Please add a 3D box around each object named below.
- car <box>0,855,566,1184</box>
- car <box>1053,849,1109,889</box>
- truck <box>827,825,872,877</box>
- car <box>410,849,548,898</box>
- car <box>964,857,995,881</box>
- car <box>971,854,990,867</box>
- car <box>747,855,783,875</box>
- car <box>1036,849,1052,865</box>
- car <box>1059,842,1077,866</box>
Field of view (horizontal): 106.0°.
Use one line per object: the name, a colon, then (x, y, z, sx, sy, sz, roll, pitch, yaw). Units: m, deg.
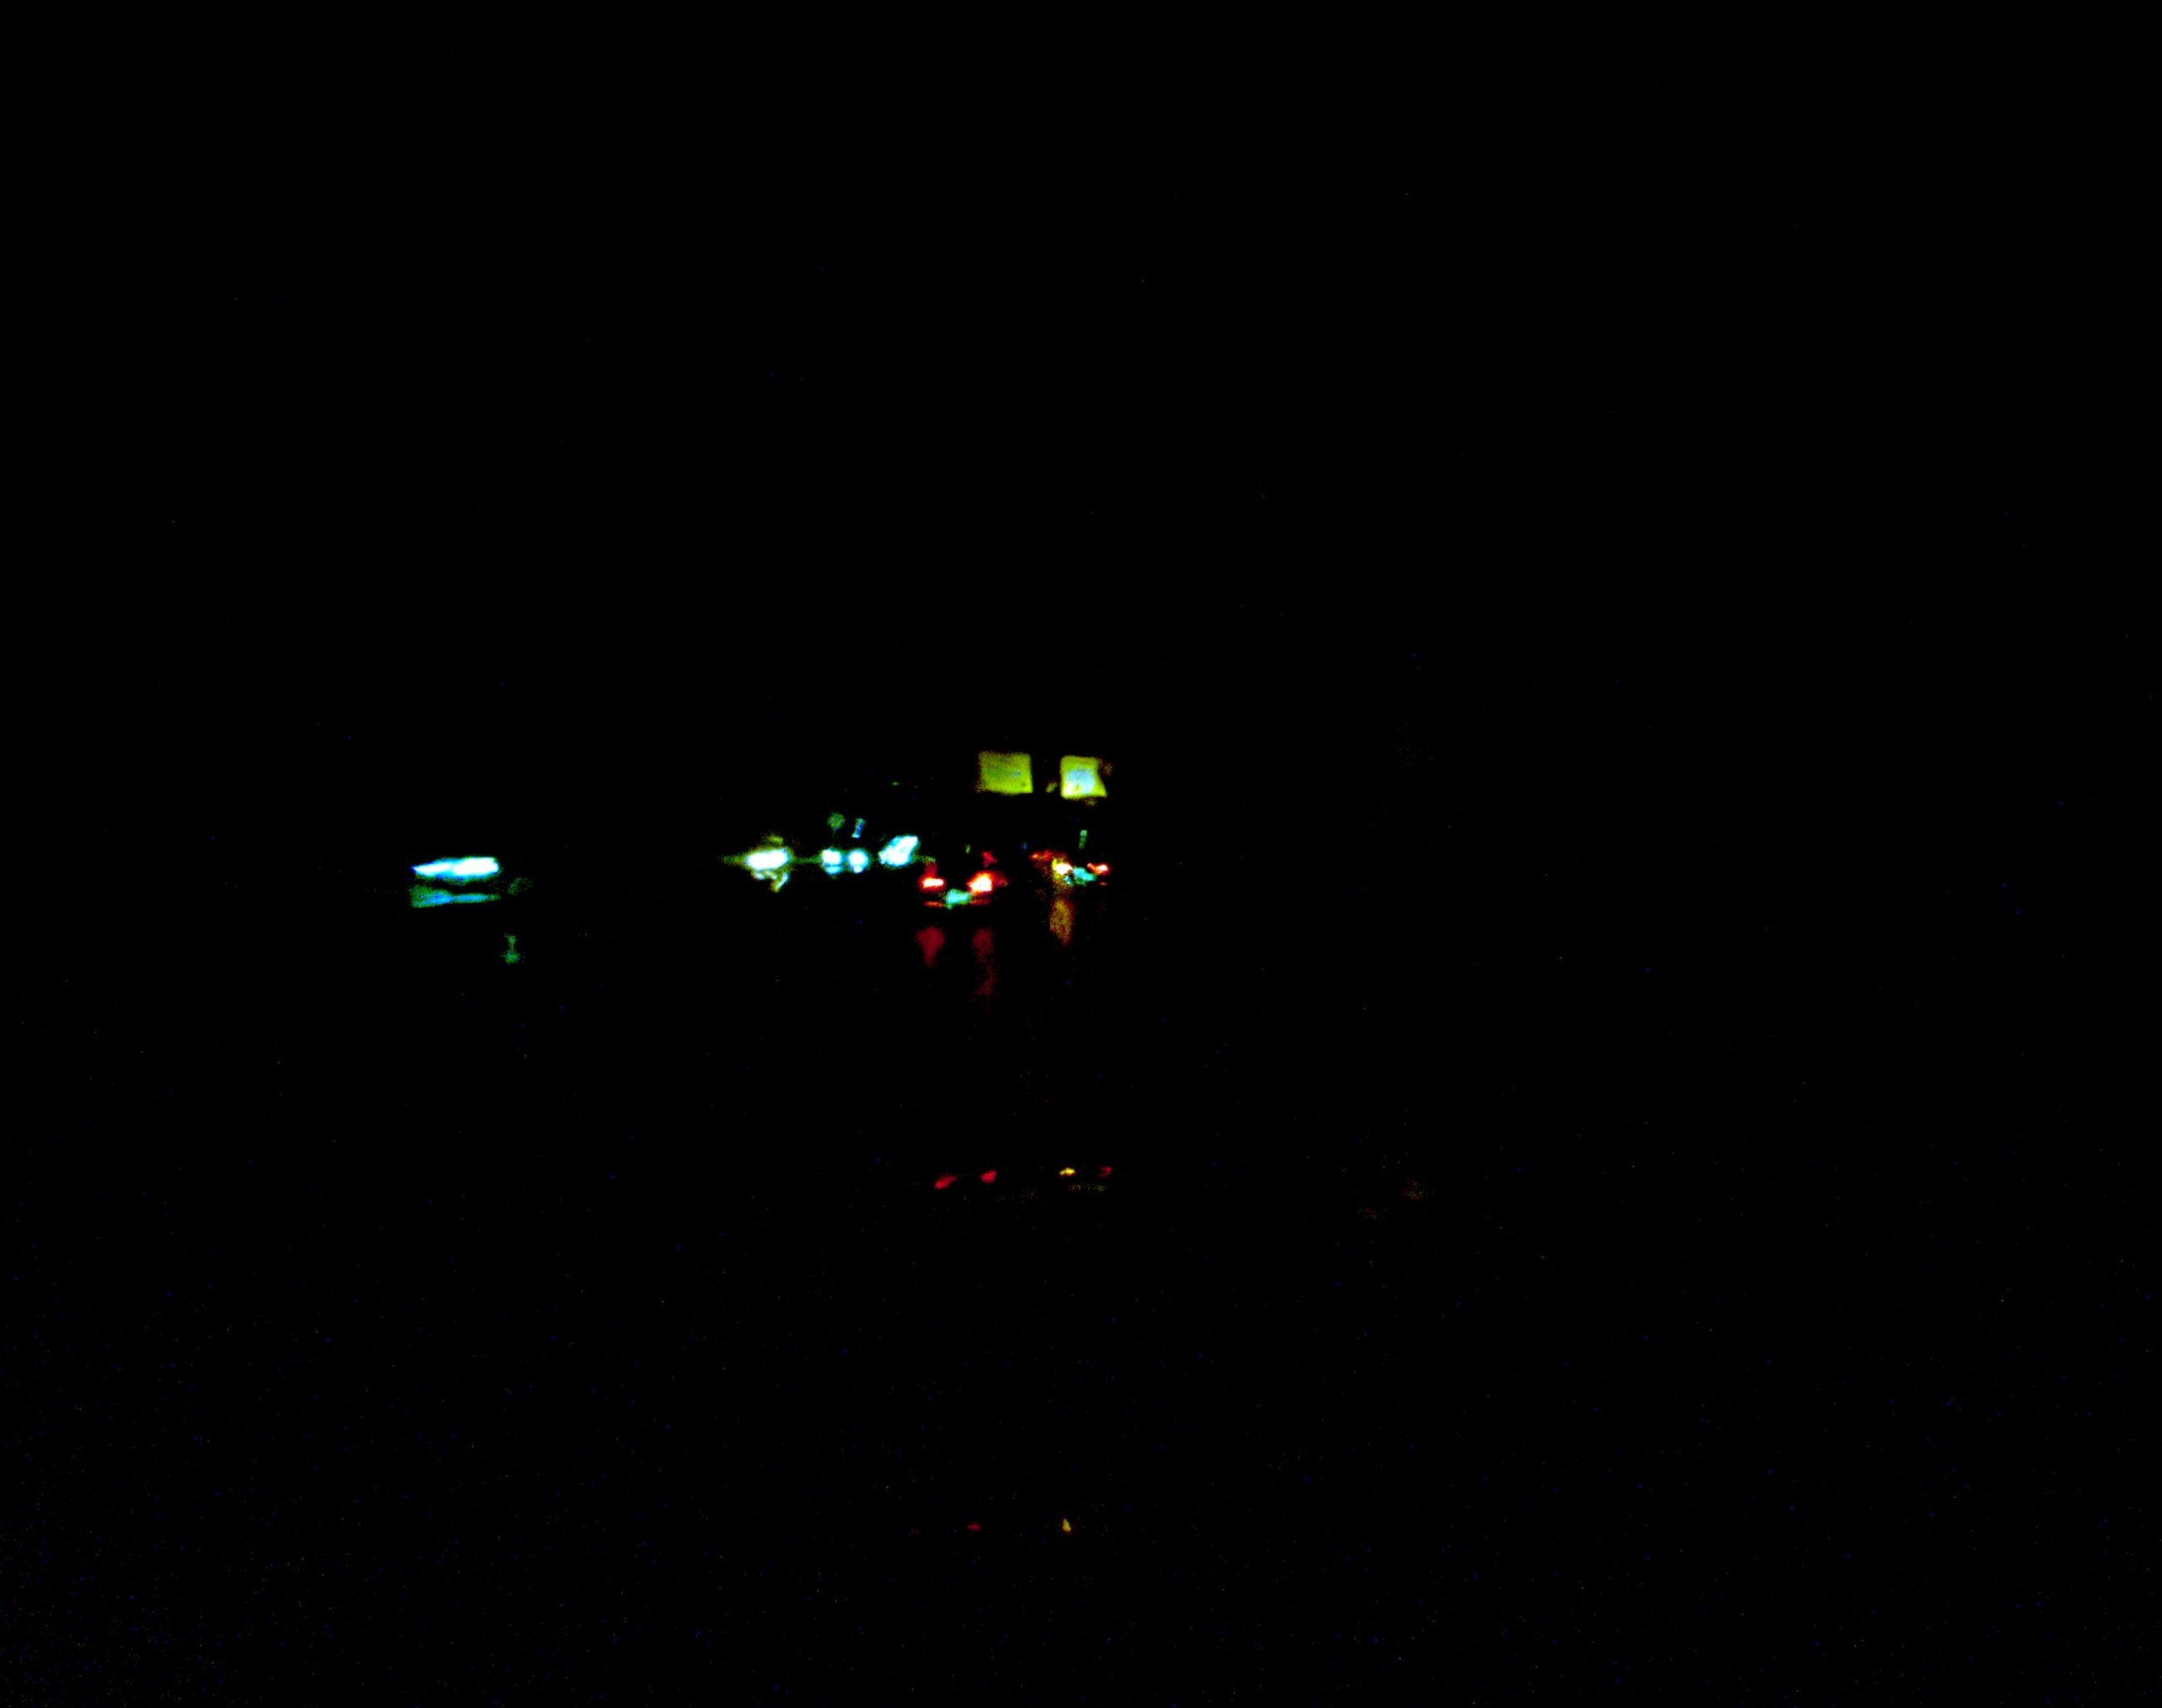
car: (-5.859, 0.768, 5.377, 1.762, 1.517, 4.914, 0, 0, 0)
car: (0.072, 0.578, 31.003, 1.955, 1.380, 4.050, 1, -1, 2)
truck: (-20.546, -0.254, 72.592, 2.560, 4.404, 5.841, 1, -1, -4)
car: (-21.609, 0.677, 29.479, 1.837, 1.648, 4.329, 0, -1, -2)
car: (-6.858, 0.991, 55.364, 1.888, 1.550, 3.994, 0, -1, -4)
car: (-12.114, 0.764, 98.682, 1.890, 1.545, 3.998, 0, -1, -1)
car: (-28.355, 1.017, 73.126, 1.991, 1.728, 3.991, 0, -1, -6)
car: (-4.765, 0.457, 106.616, 1.988, 2.014, 3.997, 0, -1, -1)
car: (-1.112, -0.029, 70.499, 1.549, 2.013, 3.999, 0, 0, 0)
